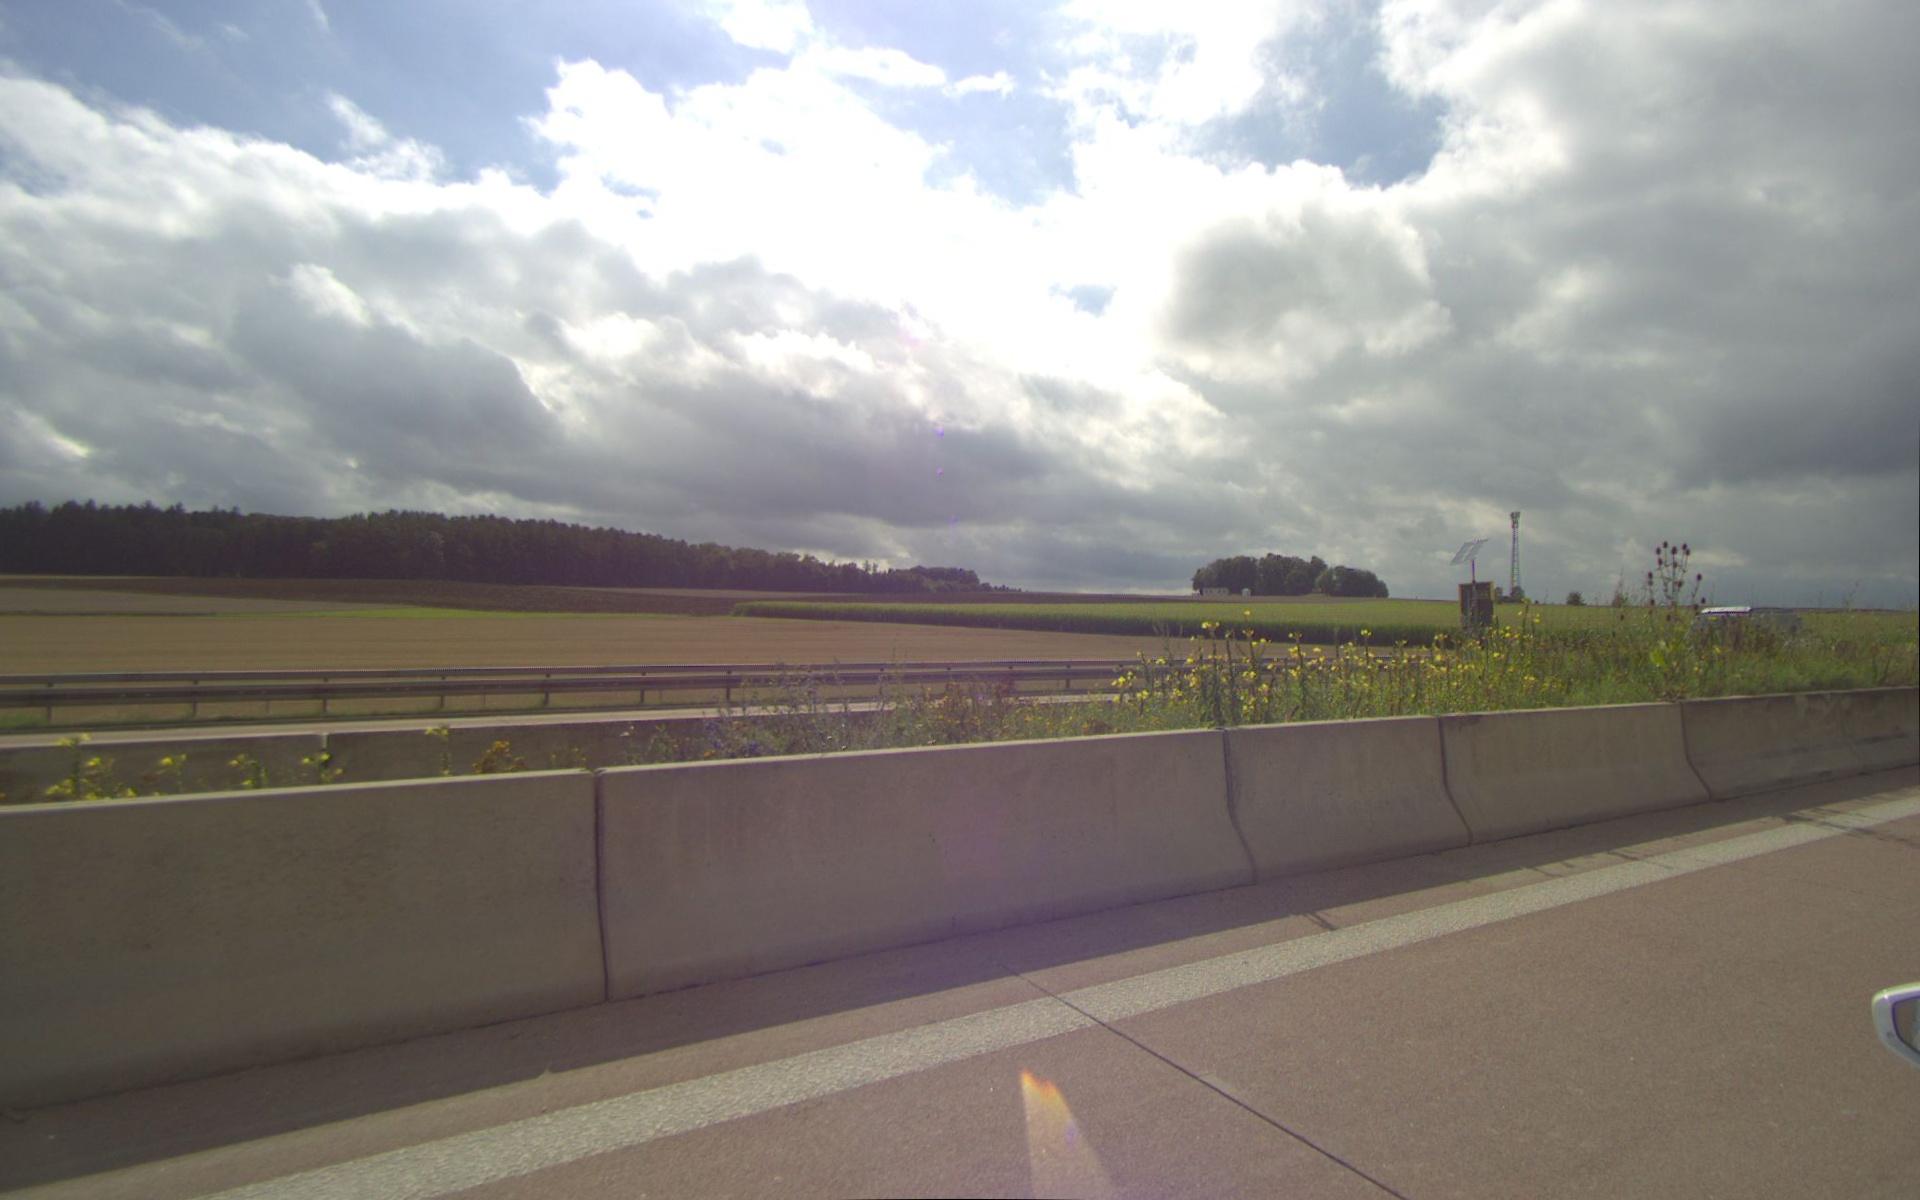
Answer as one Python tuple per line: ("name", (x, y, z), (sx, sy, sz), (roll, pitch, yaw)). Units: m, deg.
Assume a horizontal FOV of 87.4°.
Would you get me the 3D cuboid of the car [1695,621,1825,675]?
("car", (30.990, 1.833, 38.870), (5.637, 1.938, 2.047), (1, -2, -31))
